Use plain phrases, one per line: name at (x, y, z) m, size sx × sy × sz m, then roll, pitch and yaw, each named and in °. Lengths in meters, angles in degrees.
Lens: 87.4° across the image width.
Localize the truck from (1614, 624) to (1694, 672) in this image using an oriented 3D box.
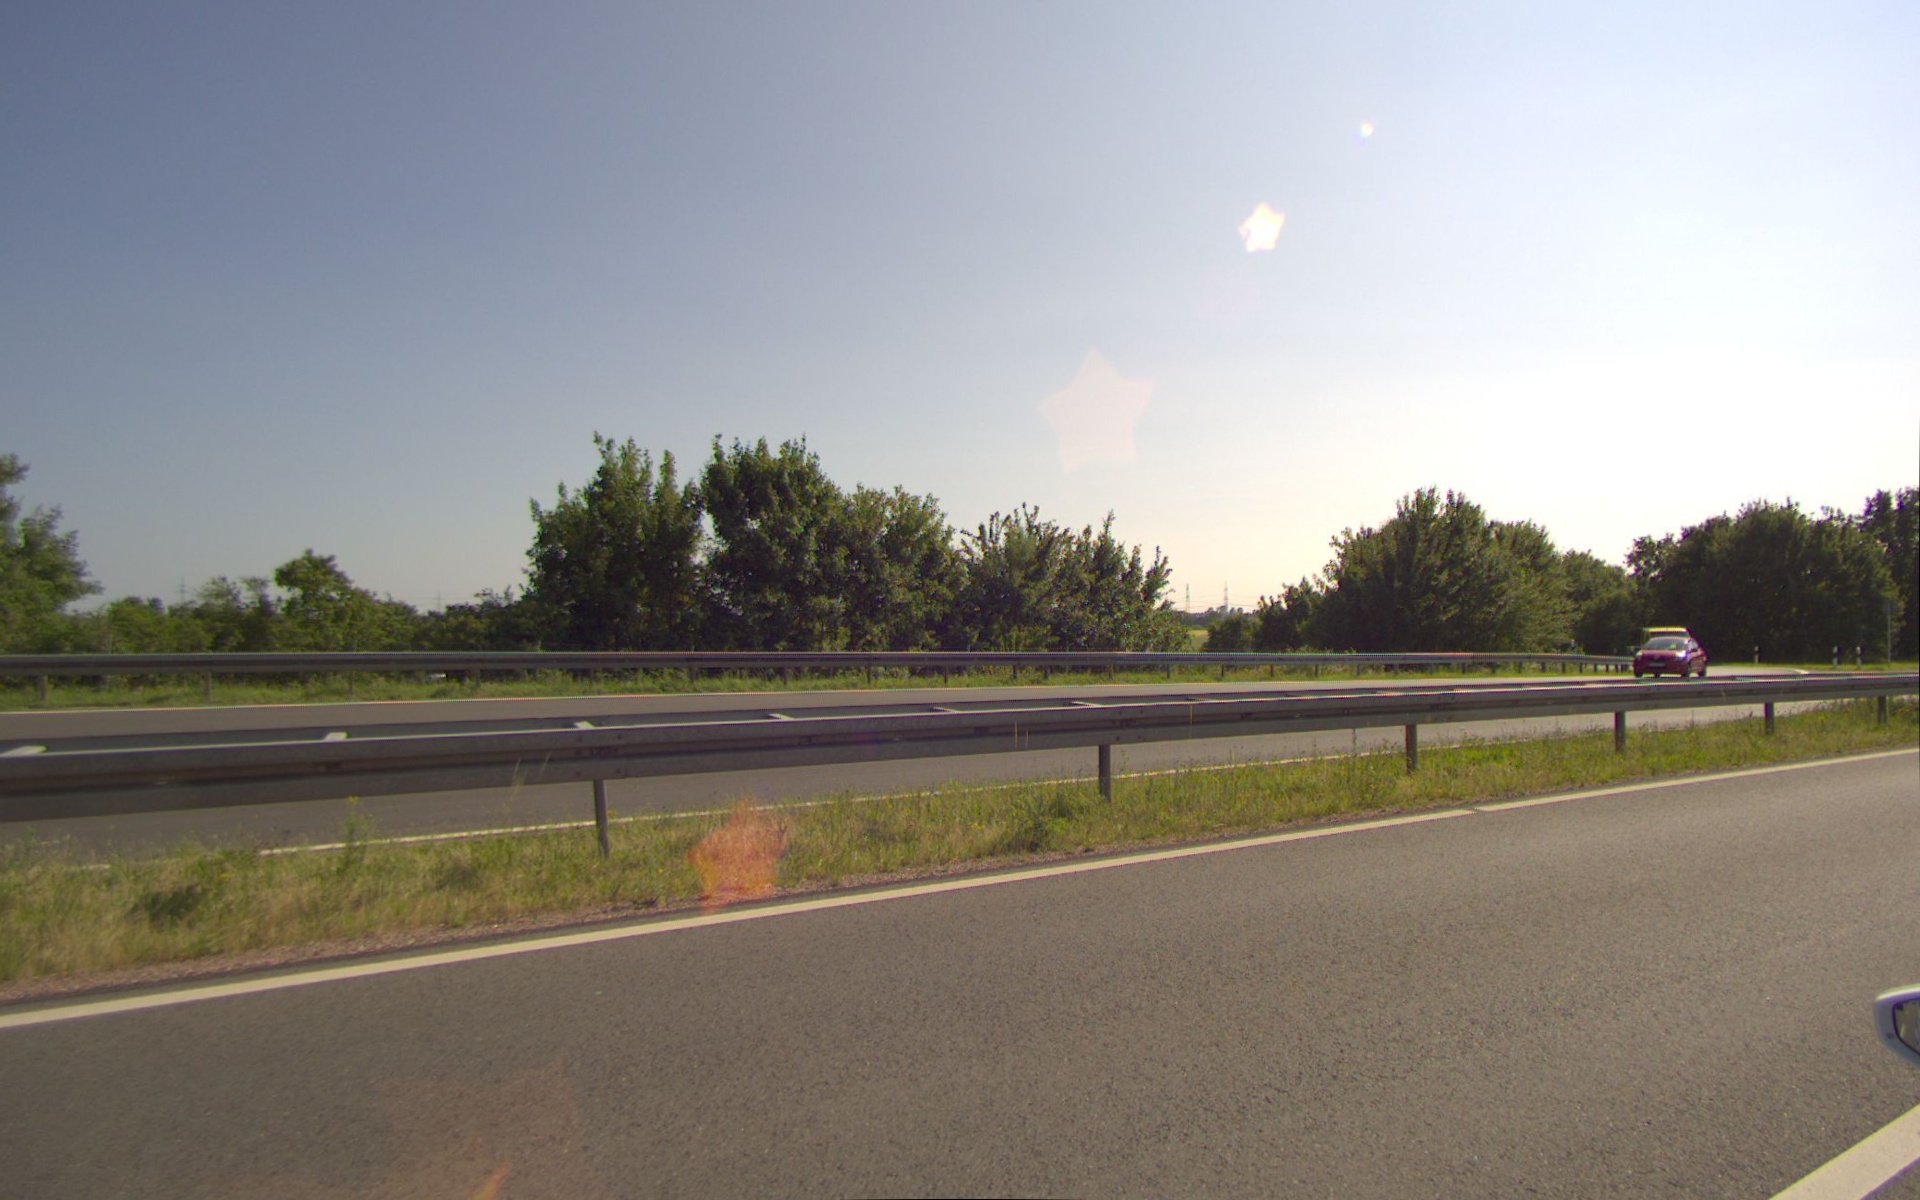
truck at (38.471, 2.705, 55.890) m, size 2.092 × 2.485 × 6.617 m, roll -2°, pitch -3°, yaw 21°

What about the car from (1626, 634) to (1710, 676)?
car at (26.695, 2.041, 37.834) m, size 3.970 × 1.465 × 1.769 m, roll 2°, pitch -2°, yaw -42°
